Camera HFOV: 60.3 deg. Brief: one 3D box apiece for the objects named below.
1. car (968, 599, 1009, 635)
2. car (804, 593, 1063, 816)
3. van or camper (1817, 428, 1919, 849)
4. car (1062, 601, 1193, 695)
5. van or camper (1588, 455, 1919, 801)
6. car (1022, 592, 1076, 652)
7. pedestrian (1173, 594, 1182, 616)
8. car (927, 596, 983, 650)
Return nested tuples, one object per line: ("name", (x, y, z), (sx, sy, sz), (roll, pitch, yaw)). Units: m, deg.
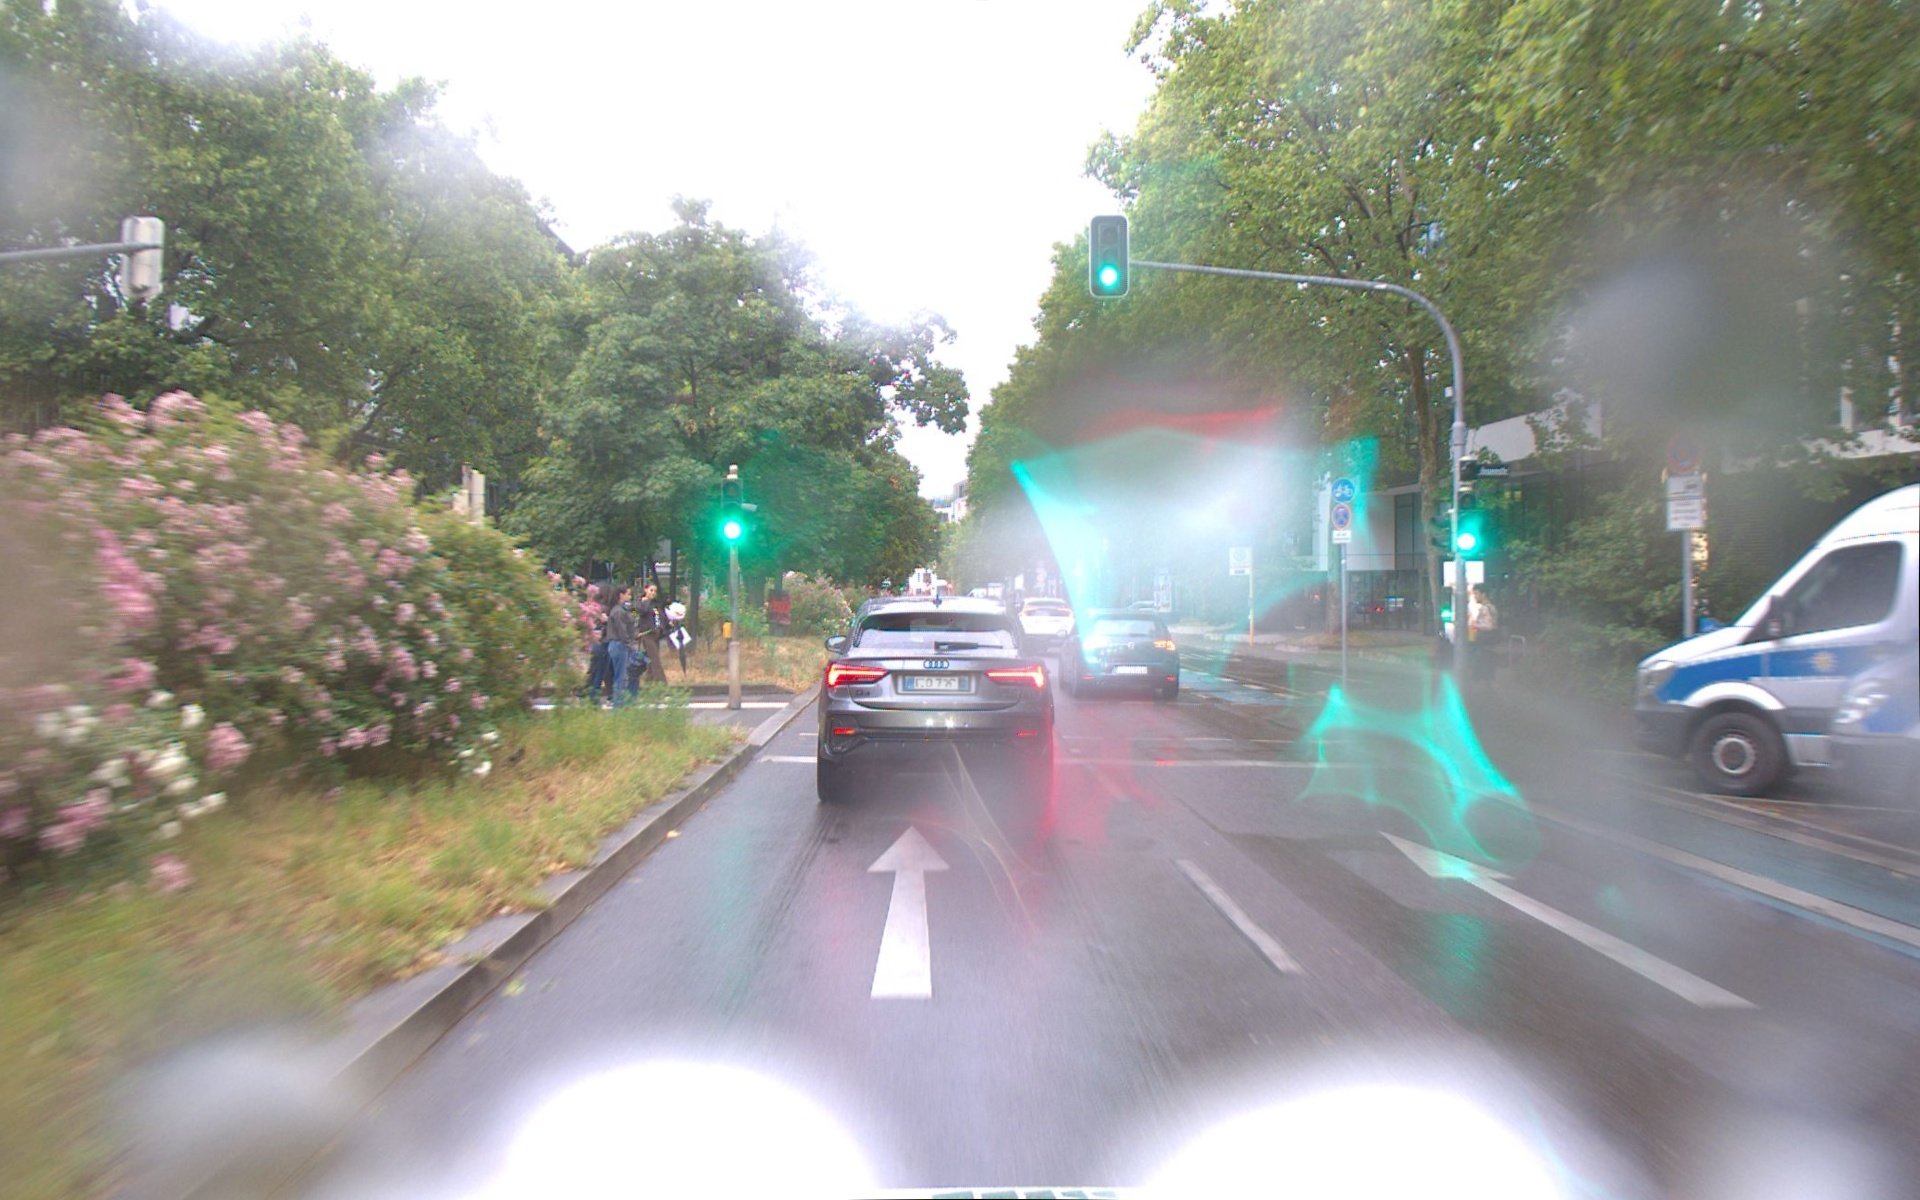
("car", (1.444, 0.833, 84.770), (1.953, 1.780, 3.999), (0, 0, -1))
("car", (-0.178, 0.730, 13.965), (1.825, 1.559, 4.526), (0, 0, 0))
("van or camper", (8.634, 0.239, 10.270), (5.693, 2.727, 1.993), (0, 0, 35))
("car", (2.790, 0.767, 28.265), (1.729, 1.437, 3.999), (-1, 0, -2))
("van or camper", (8.433, 0.222, 13.717), (5.701, 2.724, 2.139), (0, 0, 37))
("car", (2.623, 0.625, 49.250), (1.404, 1.714, 2.978), (-1, 0, -1))
("pedestrian", (18.080, 0.391, 137.268), (0.637, 1.847, 0.655), (0, 0, -2))
("car", (-0.196, 0.701, 52.032), (1.687, 1.605, 3.961), (0, 0, -1))
